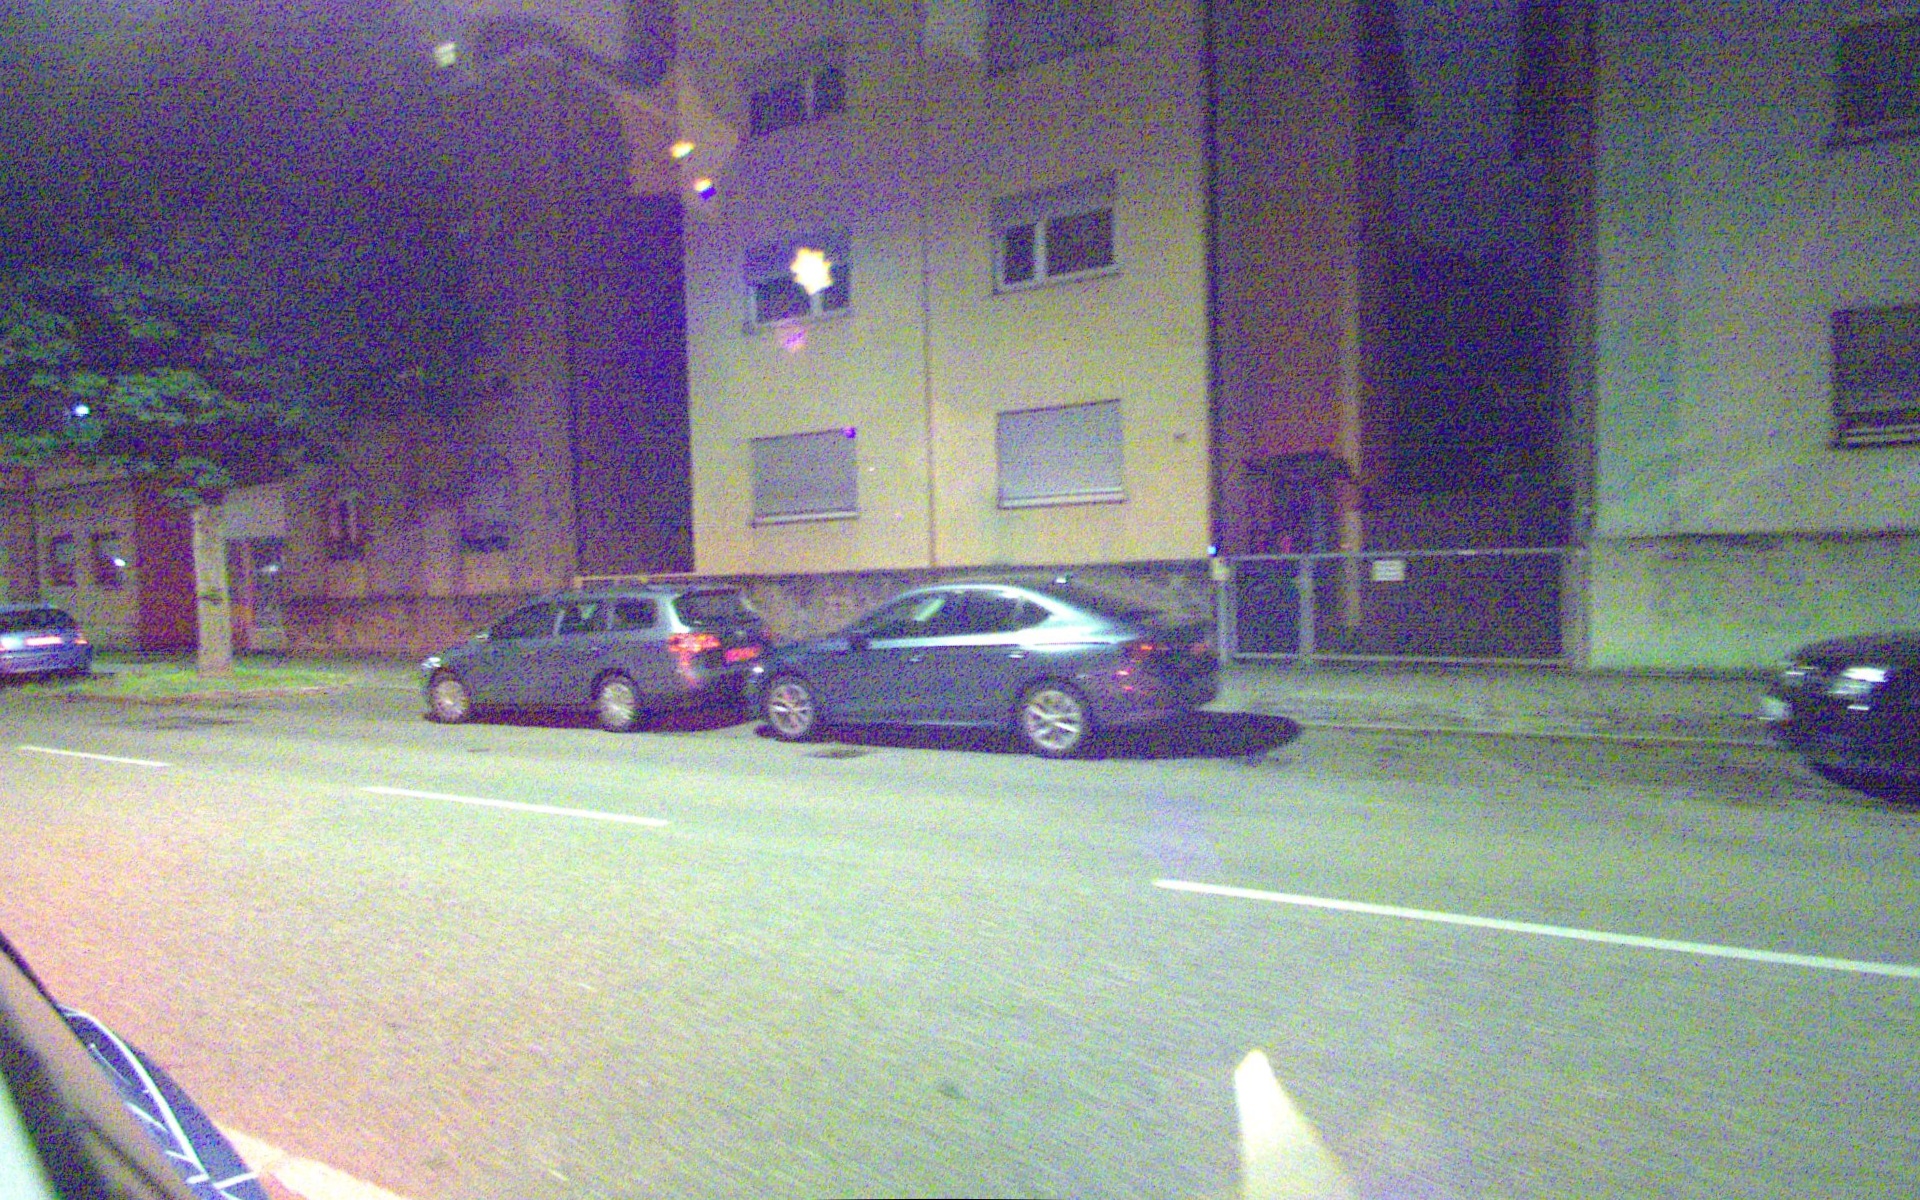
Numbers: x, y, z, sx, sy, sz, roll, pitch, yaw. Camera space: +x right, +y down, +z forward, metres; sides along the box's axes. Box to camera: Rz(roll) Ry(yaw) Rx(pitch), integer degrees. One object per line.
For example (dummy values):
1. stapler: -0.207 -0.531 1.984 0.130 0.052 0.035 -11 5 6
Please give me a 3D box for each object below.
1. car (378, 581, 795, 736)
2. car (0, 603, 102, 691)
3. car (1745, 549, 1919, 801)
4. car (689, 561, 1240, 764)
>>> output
1. car: -4.368 0.590 11.679 4.743 1.497 1.758 -1 1 27
2. car: -18.621 0.883 19.585 3.971 1.505 1.704 -1 2 28
3. car: 7.269 0.367 5.522 4.427 1.393 1.614 -1 1 26
4. car: -0.053 0.479 9.357 4.840 1.497 1.757 -1 1 28
